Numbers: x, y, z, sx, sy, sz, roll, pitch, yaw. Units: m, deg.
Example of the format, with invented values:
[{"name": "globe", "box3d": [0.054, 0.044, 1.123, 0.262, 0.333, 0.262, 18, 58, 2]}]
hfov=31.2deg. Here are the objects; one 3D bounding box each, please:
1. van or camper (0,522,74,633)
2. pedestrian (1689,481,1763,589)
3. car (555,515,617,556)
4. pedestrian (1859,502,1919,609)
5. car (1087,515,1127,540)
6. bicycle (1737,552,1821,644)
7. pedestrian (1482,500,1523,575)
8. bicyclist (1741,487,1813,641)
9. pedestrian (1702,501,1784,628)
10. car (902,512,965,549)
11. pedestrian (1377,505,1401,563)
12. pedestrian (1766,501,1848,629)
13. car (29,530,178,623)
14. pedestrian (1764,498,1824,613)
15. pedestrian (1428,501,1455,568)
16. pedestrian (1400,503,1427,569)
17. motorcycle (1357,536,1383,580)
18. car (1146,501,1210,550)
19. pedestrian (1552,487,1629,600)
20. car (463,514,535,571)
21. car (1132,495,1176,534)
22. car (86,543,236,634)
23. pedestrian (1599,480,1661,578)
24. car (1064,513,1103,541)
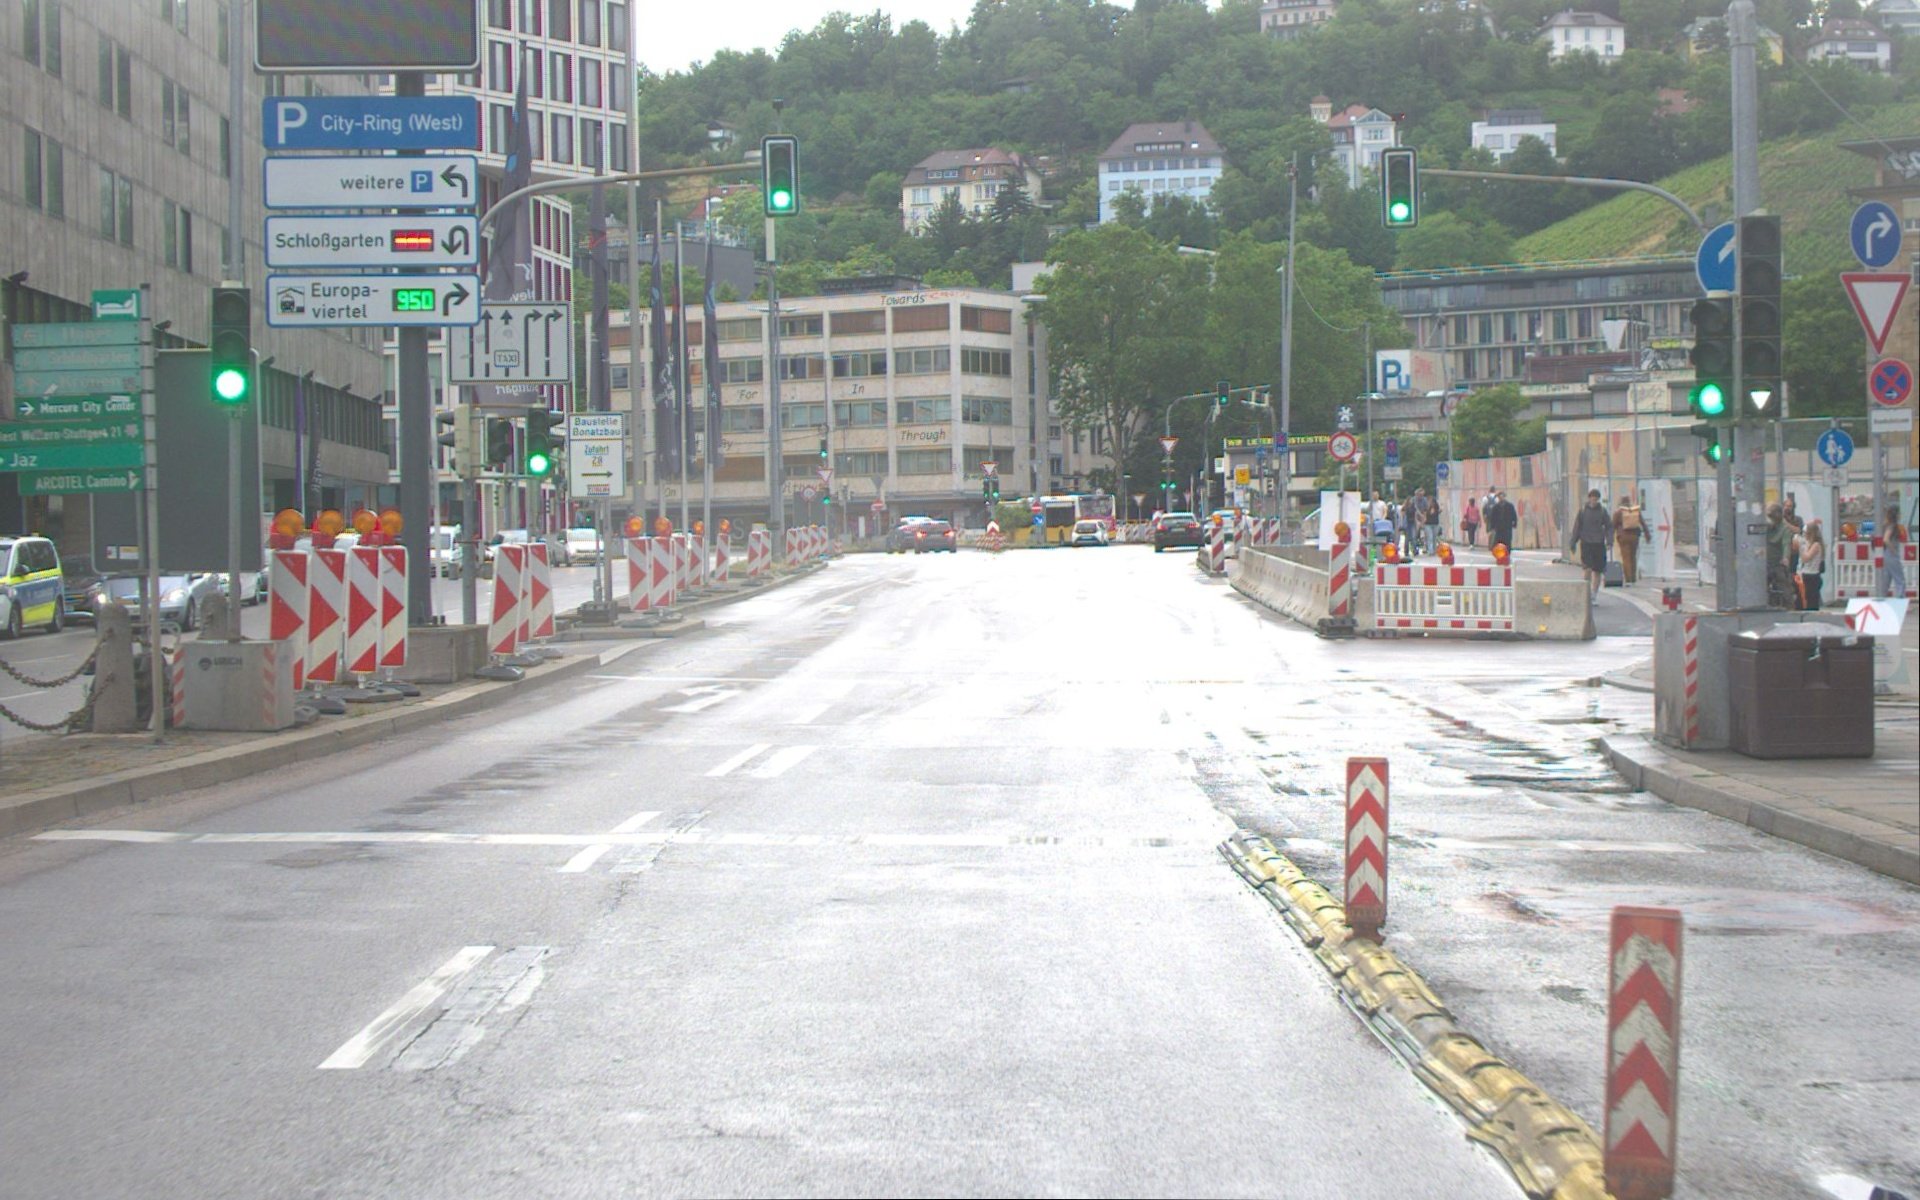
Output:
[{"name": "van or camper", "box3d": [-18.312, -0.434, 64.684, 1.993, 2.007, 4.965, -1, 1, 0]}, {"name": "pedestrian", "box3d": [13.200, -1.118, 59.239, 0.867, 1.835, 0.947, -1, 1, 43]}, {"name": "car", "box3d": [-15.379, -2.668, 141.517, 1.993, 1.612, 4.000, -1, 1, 1]}, {"name": "pedestrian", "box3d": [14.637, -0.705, 53.929, 0.864, 1.655, 0.797, -1, 1, 3]}, {"name": "car", "box3d": [8.451, -4.180, 197.867, 1.993, 1.437, 4.001, 1, 2, -1]}, {"name": "bicycle", "box3d": [9.847, -0.037, 41.365, 0.707, 1.046, 1.806, 0, 2, 5]}, {"name": "pedestrian", "box3d": [13.488, -1.548, 85.526, 0.946, 1.835, 0.867, -1, 1, 7]}, {"name": "bicyclist", "box3d": [9.845, -0.438, 41.443, 0.703, 1.838, 0.968, 0, 1, 5]}, {"name": "pedestrian", "box3d": [10.074, -0.456, 44.206, 0.796, 1.602, 0.834, -1, 1, 29]}, {"name": "car", "box3d": [-1.179, -3.000, 149.241, 1.993, 1.546, 4.001, -1, 1, -11]}, {"name": "pedestrian", "box3d": [13.724, -2.115, 110.042, 0.688, 1.835, 0.614, -1, 1, 5]}, {"name": "pedestrian", "box3d": [10.786, -0.450, 43.791, 0.796, 1.602, 0.834, -1, 1, 29]}, {"name": "car", "box3d": [-17.672, -0.516, 71.101, 1.993, 1.831, 4.000, -1, 1, 1]}, {"name": "pedestrian", "box3d": [13.496, -0.720, 55.640, 0.865, 1.835, 0.797, -1, 1, 10]}, {"name": "pedestrian", "box3d": [13.410, -1.816, 95.757, 0.688, 1.835, 0.614, -1, 1, 5]}, {"name": "pedestrian", "box3d": [12.646, -1.778, 95.793, 0.688, 1.835, 0.614, -1, 1, 5]}, {"name": "motorcycle", "box3d": [7.011, -0.722, 58.813, 0.371, 0.719, 0.922, 1, 1, 2]}, {"name": "car", "box3d": [7.954, -2.709, 125.715, 1.993, 1.700, 4.000, -1, 1, -1]}, {"name": "pedestrian", "box3d": [10.390, -0.934, 56.664, 0.948, 1.835, 0.945, -1, 1, 31]}, {"name": "car", "box3d": [-16.916, -2.116, 126.291, 1.993, 2.007, 4.000, -1, 1, 1]}, {"name": "car", "box3d": [8.590, -3.793, 152.732, 1.776, 1.634, 4.000, -2, 1, 1]}, {"name": "car", "box3d": [-14.899, -0.244, 64.317, 1.768, 1.603, 4.226, -1, 1, 0]}, {"name": "pedestrian", "box3d": [12.777, -1.348, 65.546, 0.946, 1.835, 0.867, -1, 1, -3]}, {"name": "car", "box3d": [6.619, -3.912, 184.520, 1.819, 1.437, 4.001, 1, 2, -1]}]
